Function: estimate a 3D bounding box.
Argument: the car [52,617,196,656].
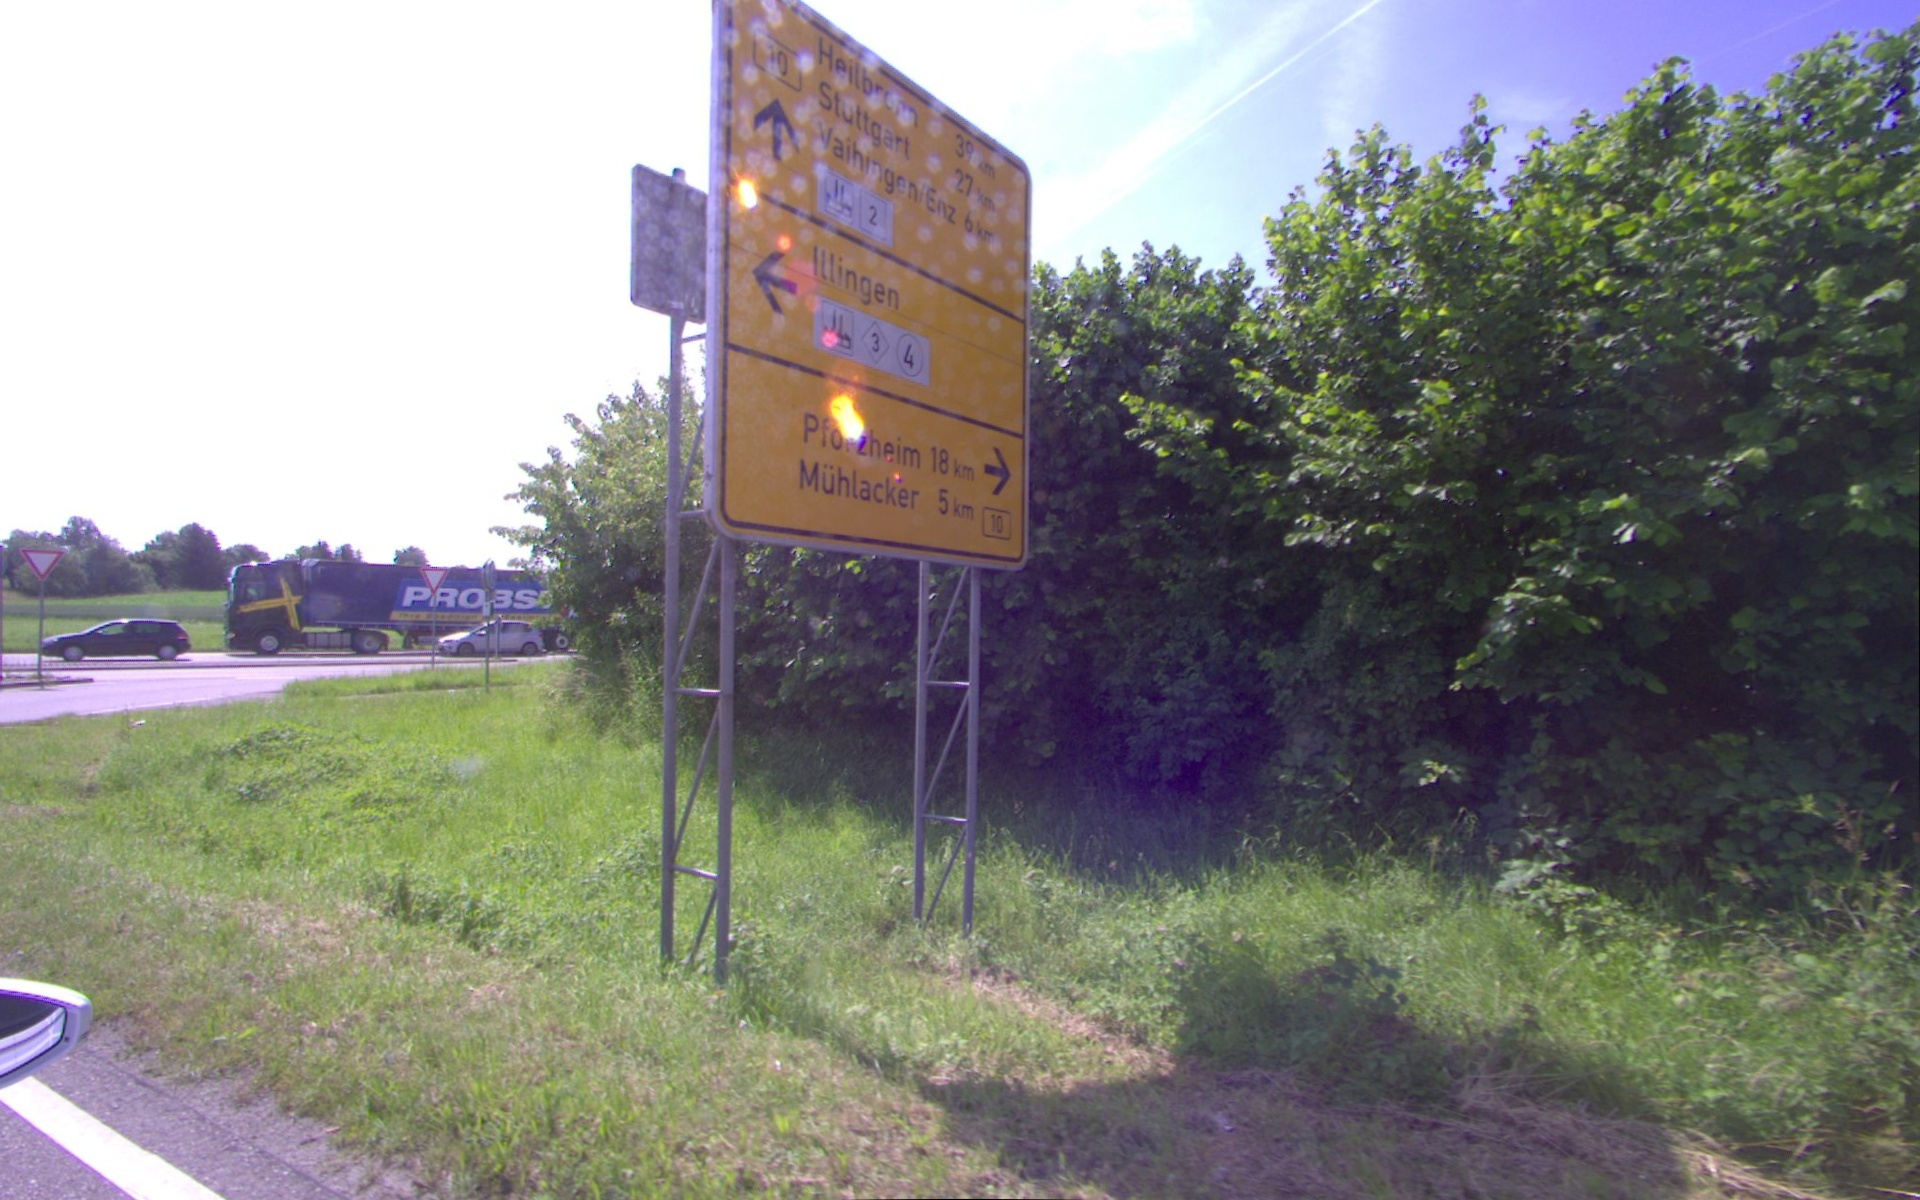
[{"bbox_3d":[-30.296,1.328,36.363,3.960,1.327,1.750,2,-3,-43],"label":"car"}]

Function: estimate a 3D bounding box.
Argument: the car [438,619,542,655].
[{"bbox_3d":[-20.830,1.634,44.457,3.963,1.510,1.526,1,-2,-39],"label":"car"}]

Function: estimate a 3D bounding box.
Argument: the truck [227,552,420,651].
[{"bbox_3d":[-28.061,0.176,44.326,6.877,4.046,3.002,2,-1,-40],"label":"truck"}]

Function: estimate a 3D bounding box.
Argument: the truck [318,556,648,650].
[{"bbox_3d":[-22.658,0.354,48.617,14.158,4.031,3.005,2,-1,-37],"label":"truck"}]
